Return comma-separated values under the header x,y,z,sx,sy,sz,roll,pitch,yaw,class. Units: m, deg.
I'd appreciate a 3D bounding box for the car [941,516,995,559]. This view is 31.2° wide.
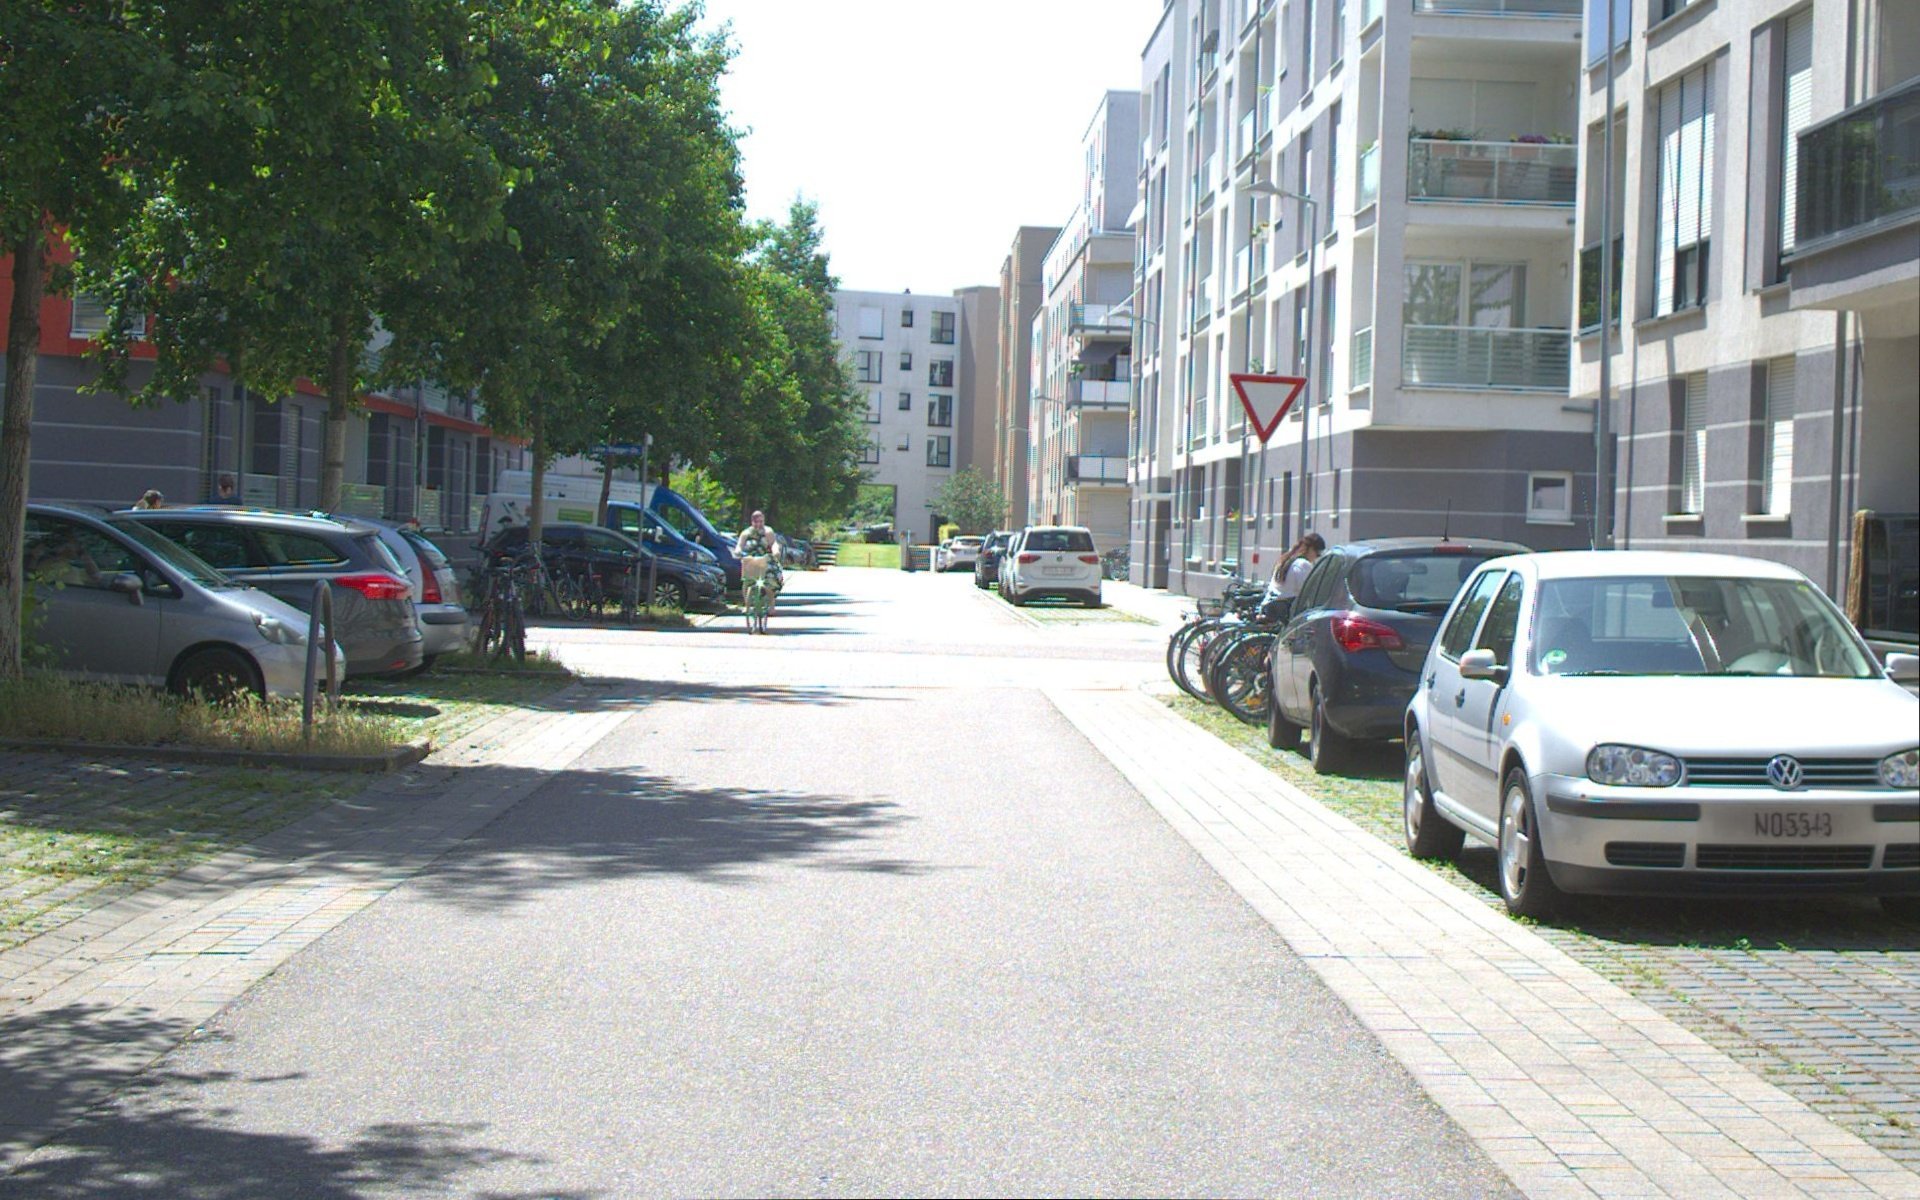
x,y,z,sx,sy,sz,roll,pitch,yaw,class
0.312,-2.538,139.119,1.993,1.669,4.001,1,1,-2,car

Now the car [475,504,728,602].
x,y,z,sx,sy,sz,roll,pitch,yaw,class
-6.545,-0.879,63.187,4.383,1.509,2.075,3,1,-1,car

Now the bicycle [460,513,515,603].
x,y,z,sx,sy,sz,roll,pitch,yaw,class
-7.287,-0.661,53.109,0.593,1.327,1.812,1,2,0,bicycle

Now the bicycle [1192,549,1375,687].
x,y,z,sx,sy,sz,roll,pitch,yaw,class
2.913,0.157,31.040,1.550,1.213,0.708,0,1,-2,bicycle

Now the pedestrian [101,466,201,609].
x,y,z,sx,sy,sz,roll,pitch,yaw,class
-9.792,-0.757,41.642,1.000,1.684,0.832,1,1,0,pedestrian

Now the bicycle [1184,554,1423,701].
x,y,z,sx,sy,sz,roll,pitch,yaw,class
2.874,0.227,28.804,1.923,1.213,0.461,0,1,-10,bicycle

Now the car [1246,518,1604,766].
x,y,z,sx,sy,sz,roll,pitch,yaw,class
3.009,0.208,23.054,1.738,1.480,4.229,1,1,-1,car

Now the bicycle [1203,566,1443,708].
x,y,z,sx,sy,sz,roll,pitch,yaw,class
2.885,0.287,27.449,1.786,1.100,0.747,0,1,-4,bicycle

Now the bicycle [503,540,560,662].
x,y,z,sx,sy,sz,roll,pitch,yaw,class
-4.320,-0.007,34.614,0.371,1.176,1.821,1,1,-13,bicycle

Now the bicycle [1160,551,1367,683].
x,y,z,sx,sy,sz,roll,pitch,yaw,class
2.789,0.149,31.749,1.859,1.189,0.687,1,1,2,bicycle

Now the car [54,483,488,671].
x,y,z,sx,sy,sz,roll,pitch,yaw,class
-6.369,-0.229,32.066,3.630,1.515,1.832,3,1,-1,car

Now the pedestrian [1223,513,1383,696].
x,y,z,sx,sy,sz,roll,pitch,yaw,class
2.876,0.033,28.927,1.178,1.509,0.688,0,1,-10,pedestrian

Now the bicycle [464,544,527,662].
x,y,z,sx,sy,sz,roll,pitch,yaw,class
-4.681,0.014,34.582,0.433,1.124,1.979,1,1,-13,bicycle

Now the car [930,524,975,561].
x,y,z,sx,sy,sz,roll,pitch,yaw,class
-0.394,-2.774,166.345,1.993,1.711,4.001,1,1,-2,car

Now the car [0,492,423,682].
x,y,z,sx,sy,sz,roll,pitch,yaw,class
-6.809,-0.137,29.788,3.987,1.549,1.800,1,1,1,car

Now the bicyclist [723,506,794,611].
x,y,z,sx,sy,sz,roll,pitch,yaw,class
-2.844,-0.587,48.629,0.953,1.454,0.800,1,1,-2,bicyclist

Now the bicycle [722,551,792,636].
x,y,z,sx,sy,sz,roll,pitch,yaw,class
-2.856,-0.101,48.546,0.898,1.125,2.040,1,1,-2,bicycle

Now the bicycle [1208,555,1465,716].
x,y,z,sx,sy,sz,roll,pitch,yaw,class
2.911,0.272,26.702,1.869,1.213,0.716,0,1,-4,bicycle

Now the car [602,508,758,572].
x,y,z,sx,sy,sz,roll,pitch,yaw,class
-7.553,-1.625,92.992,3.987,1.612,2.000,2,1,1,car

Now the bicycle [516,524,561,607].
x,y,z,sx,sy,sz,roll,pitch,yaw,class
-6.528,-0.539,53.329,0.518,1.200,1.753,3,2,-3,bicycle

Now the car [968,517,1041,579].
x,y,z,sx,sy,sz,roll,pitch,yaw,class
1.198,-1.387,90.580,1.757,1.547,4.000,2,1,2,car

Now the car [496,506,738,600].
x,y,z,sx,sy,sz,roll,pitch,yaw,class
-6.526,-0.909,65.739,4.383,1.536,1.878,3,1,-1,car

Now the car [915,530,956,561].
x,y,z,sx,sy,sz,roll,pitch,yaw,class
-1.281,-2.863,180.402,1.993,1.514,4.001,1,1,-2,car

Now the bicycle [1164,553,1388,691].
x,y,z,sx,sy,sz,roll,pitch,yaw,class
2.796,0.185,30.357,1.924,1.175,0.638,1,1,8,bicycle

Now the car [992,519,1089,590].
x,y,z,sx,sy,sz,roll,pitch,yaw,class
1.763,-1.030,76.180,1.993,1.519,4.000,1,1,-1,car

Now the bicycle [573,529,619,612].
x,y,z,sx,sy,sz,roll,pitch,yaw,class
-5.625,-0.468,53.081,0.570,1.170,1.769,4,2,-8,bicycle

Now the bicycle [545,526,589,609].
x,y,z,sx,sy,sz,roll,pitch,yaw,class
-6.058,-0.510,53.082,0.434,1.200,1.700,3,2,0,bicycle

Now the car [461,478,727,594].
x,y,z,sx,sy,sz,roll,pitch,yaw,class
-7.449,-1.314,70.356,5.145,2.112,2.312,2,2,-1,car

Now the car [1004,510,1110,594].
x,y,z,sx,sy,sz,roll,pitch,yaw,class
1.959,-1.008,70.479,1.997,1.651,4.115,1,1,-1,car

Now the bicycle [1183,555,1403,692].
x,y,z,sx,sy,sz,roll,pitch,yaw,class
2.850,0.197,29.387,1.833,1.144,0.461,0,1,-20,bicycle

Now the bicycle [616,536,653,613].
x,y,z,sx,sy,sz,roll,pitch,yaw,class
-5.040,-0.405,53.308,0.466,1.138,1.926,1,1,-3,bicycle

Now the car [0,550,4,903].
x,y,z,sx,sy,sz,roll,pitch,yaw,class
-5.689,0.309,11.682,4.360,1.704,2.000,0,1,-3,car

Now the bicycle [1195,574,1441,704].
x,y,z,sx,sy,sz,roll,pitch,yaw,class
2.921,0.318,28.144,1.923,1.031,0.559,0,1,-4,bicycle

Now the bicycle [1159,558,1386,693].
x,y,z,sx,sy,sz,roll,pitch,yaw,class
2.709,0.212,29.751,1.924,1.129,0.609,1,1,8,bicycle

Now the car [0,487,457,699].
x,y,z,sx,sy,sz,roll,pitch,yaw,class
-6.171,-0.073,27.151,4.180,1.481,1.959,2,0,-4,car

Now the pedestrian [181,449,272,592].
x,y,z,sx,sy,sz,roll,pitch,yaw,class
-10.516,-1.143,49.322,1.009,2.007,1.129,1,1,2,pedestrian

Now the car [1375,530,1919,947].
x,y,z,sx,sy,sz,roll,pitch,yaw,class
2.998,0.464,14.737,1.834,1.499,4.351,0,1,-1,car

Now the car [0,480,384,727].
x,y,z,sx,sy,sz,roll,pitch,yaw,class
-6.208,-0.038,24.254,3.937,1.548,1.872,3,1,-1,car

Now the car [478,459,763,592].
x,y,z,sx,sy,sz,roll,pitch,yaw,class
-7.425,-1.644,75.783,6.023,2.806,2.605,1,1,-1,car
